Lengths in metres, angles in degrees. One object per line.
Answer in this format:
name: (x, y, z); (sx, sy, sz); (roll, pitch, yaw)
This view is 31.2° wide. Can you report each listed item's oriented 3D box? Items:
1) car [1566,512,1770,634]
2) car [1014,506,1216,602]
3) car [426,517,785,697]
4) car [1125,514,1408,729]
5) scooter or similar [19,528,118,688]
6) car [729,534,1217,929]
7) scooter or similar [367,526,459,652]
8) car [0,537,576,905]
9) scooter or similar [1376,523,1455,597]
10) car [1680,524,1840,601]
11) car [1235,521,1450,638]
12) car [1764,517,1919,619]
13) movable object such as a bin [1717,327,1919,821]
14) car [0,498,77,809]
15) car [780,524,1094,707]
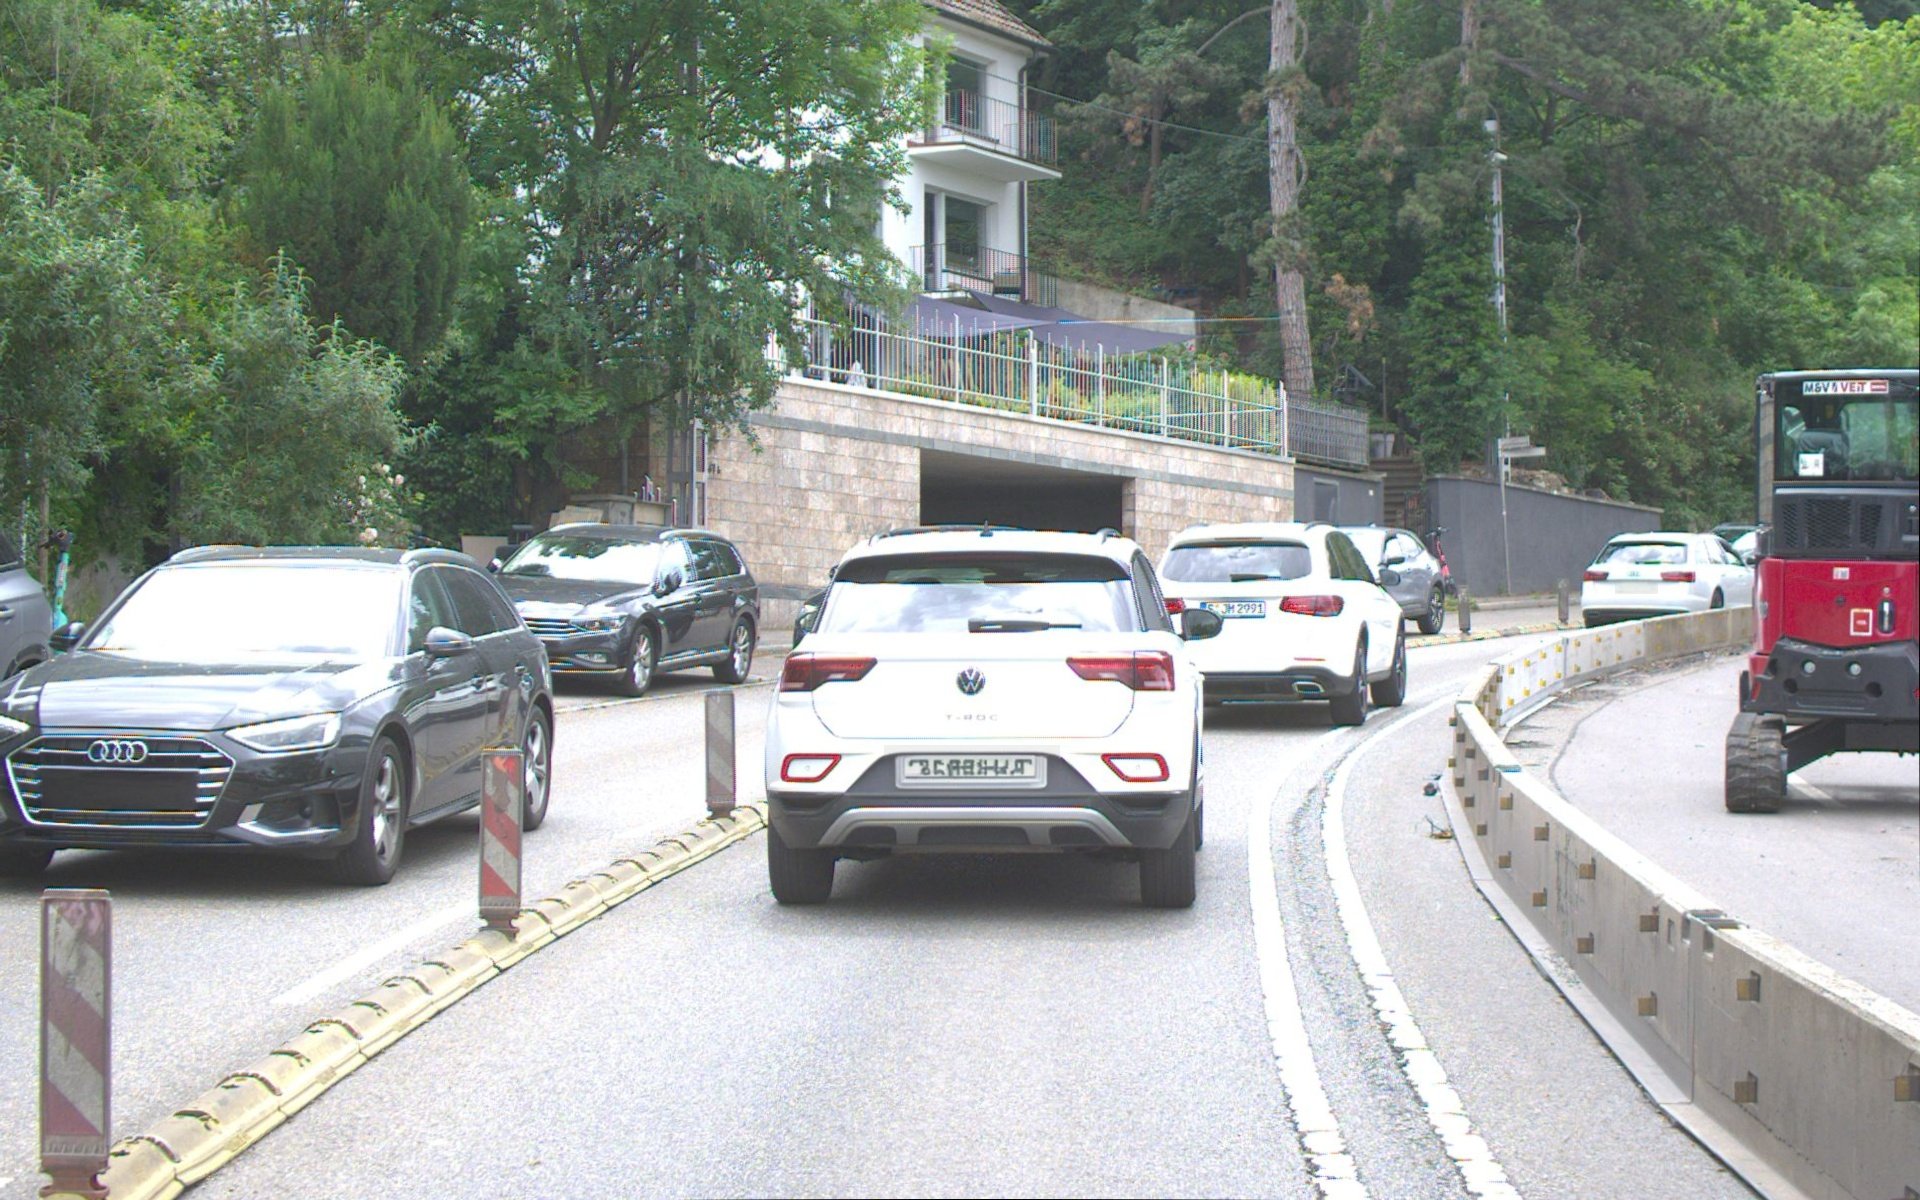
car: (10.208, -0.409, 49.372); (1.812, 1.657, 3.994); (0, 1, 28)
car: (2.571, -0.731, 56.189); (1.785, 1.448, 3.696); (1, 0, 30)
car: (-3.172, 0.017, 31.797); (1.737, 1.446, 4.680); (3, 2, 14)
car: (2.645, 0.128, 28.849); (1.811, 1.657, 3.998); (-1, 1, 13)
scooter or similar: (-6.982, 0.049, 26.951); (0.349, 1.209, 1.046); (3, 1, 6)
car: (0.193, 0.473, 15.390); (1.810, 1.526, 3.999); (0, 1, 6)
scooter or similar: (-5.516, -0.117, 34.700); (0.416, 1.228, 1.120); (3, 2, 17)
car: (-3.173, 0.446, 16.065); (1.796, 1.441, 4.361); (1, 1, 7)
scooter or similar: (7.782, -0.683, 58.713); (1.308, 1.251, 0.467); (0, 1, 5)
car: (15.473, -0.742, 66.358); (1.770, 1.430, 4.301); (1, 1, 31)
car: (5.345, -0.314, 47.649); (1.770, 1.512, 4.020); (1, 2, 24)
car: (15.339, -0.572, 58.910); (1.813, 1.657, 3.993); (0, 1, 32)
movable object such as a bin: (5.797, -0.192, 20.846); (2.213, 2.653, 4.942); (1, 1, 14)
car: (-5.888, 0.259, 16.715); (1.687, 1.600, 4.186); (3, 1, 6)
car: (-0.137, 0.085, 32.048); (1.769, 1.562, 4.226); (1, 2, 16)
